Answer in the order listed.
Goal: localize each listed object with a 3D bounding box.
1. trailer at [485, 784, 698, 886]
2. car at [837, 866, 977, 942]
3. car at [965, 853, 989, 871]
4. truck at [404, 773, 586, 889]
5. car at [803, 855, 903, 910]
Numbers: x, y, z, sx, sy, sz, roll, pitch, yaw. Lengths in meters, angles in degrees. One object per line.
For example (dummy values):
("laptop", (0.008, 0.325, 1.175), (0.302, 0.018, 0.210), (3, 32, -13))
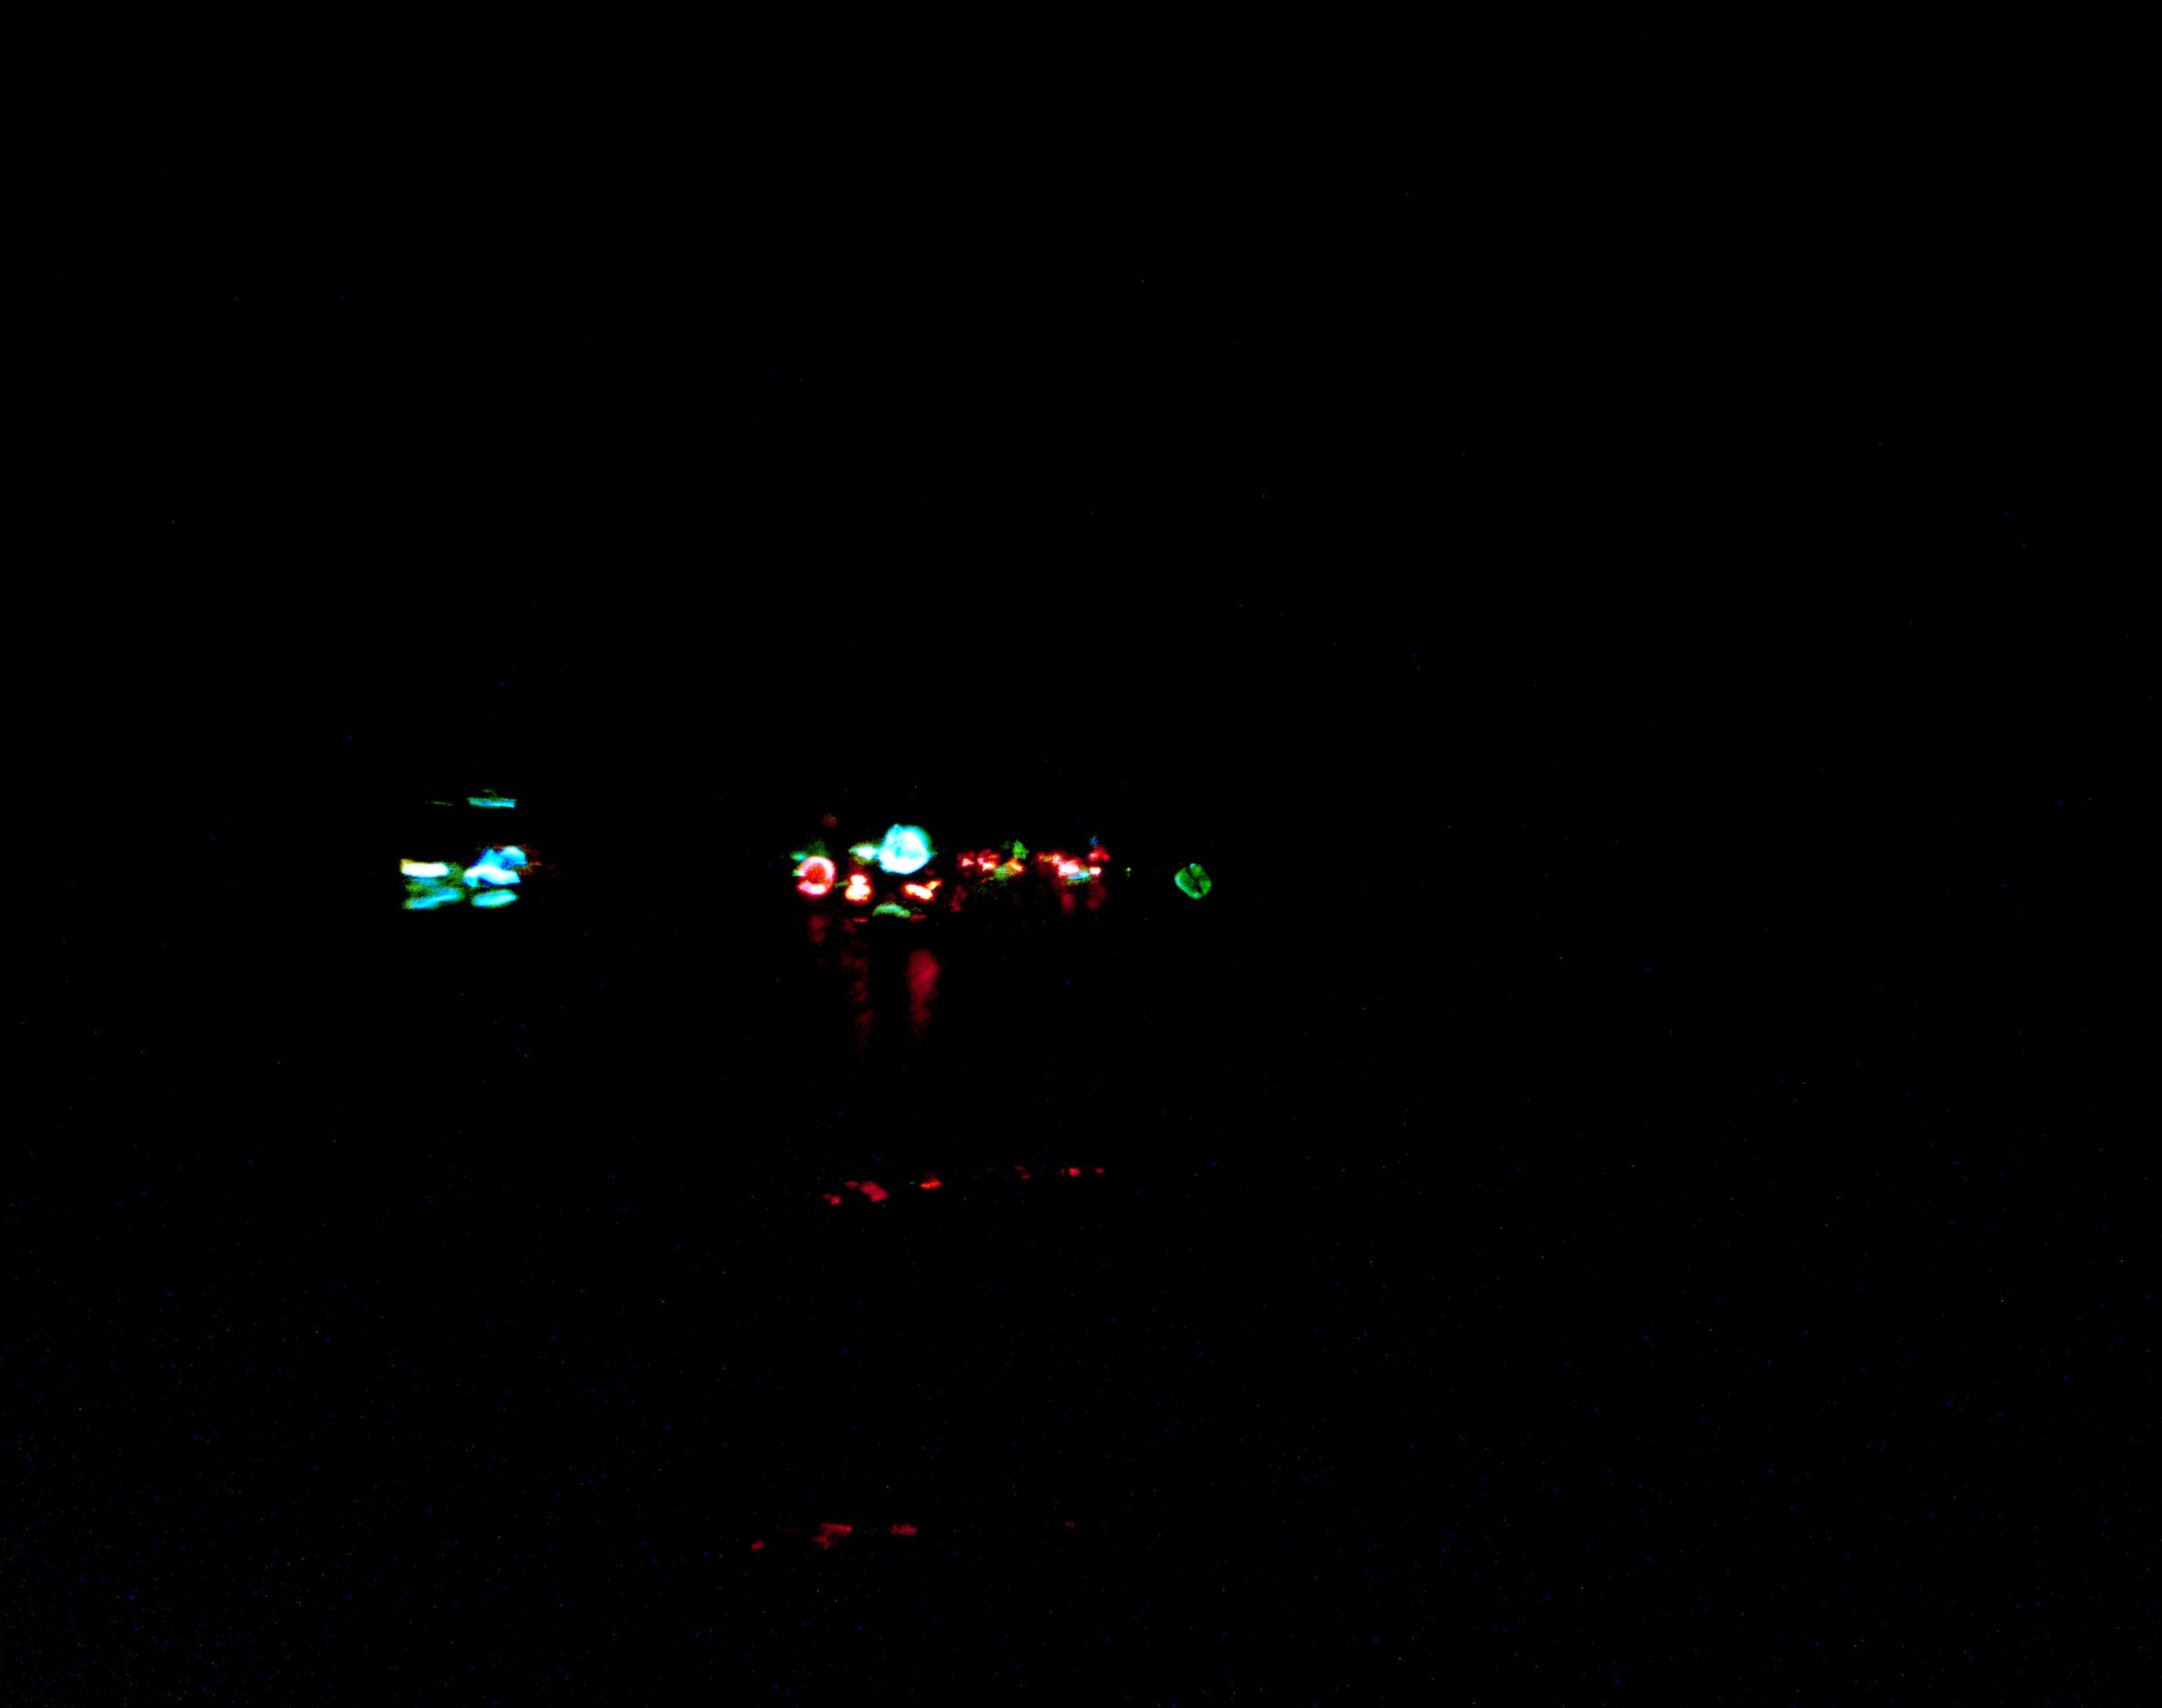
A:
("trailer", (-19.097, -0.599, 32.947), (2.602, 3.473, 10.437), (0, -1, -2))
("car", (-3.455, 0.950, 17.011), (1.955, 1.380, 4.050), (1, -1, 1))
("car", (-9.629, 0.746, 75.755), (1.888, 1.550, 3.995), (0, -1, -3))
("truck", (-18.882, -0.663, 26.610), (2.598, 3.457, 4.637), (0, -1, -2))
("car", (-6.902, 0.800, 25.200), (1.762, 1.517, 4.913), (0, 0, -1))
